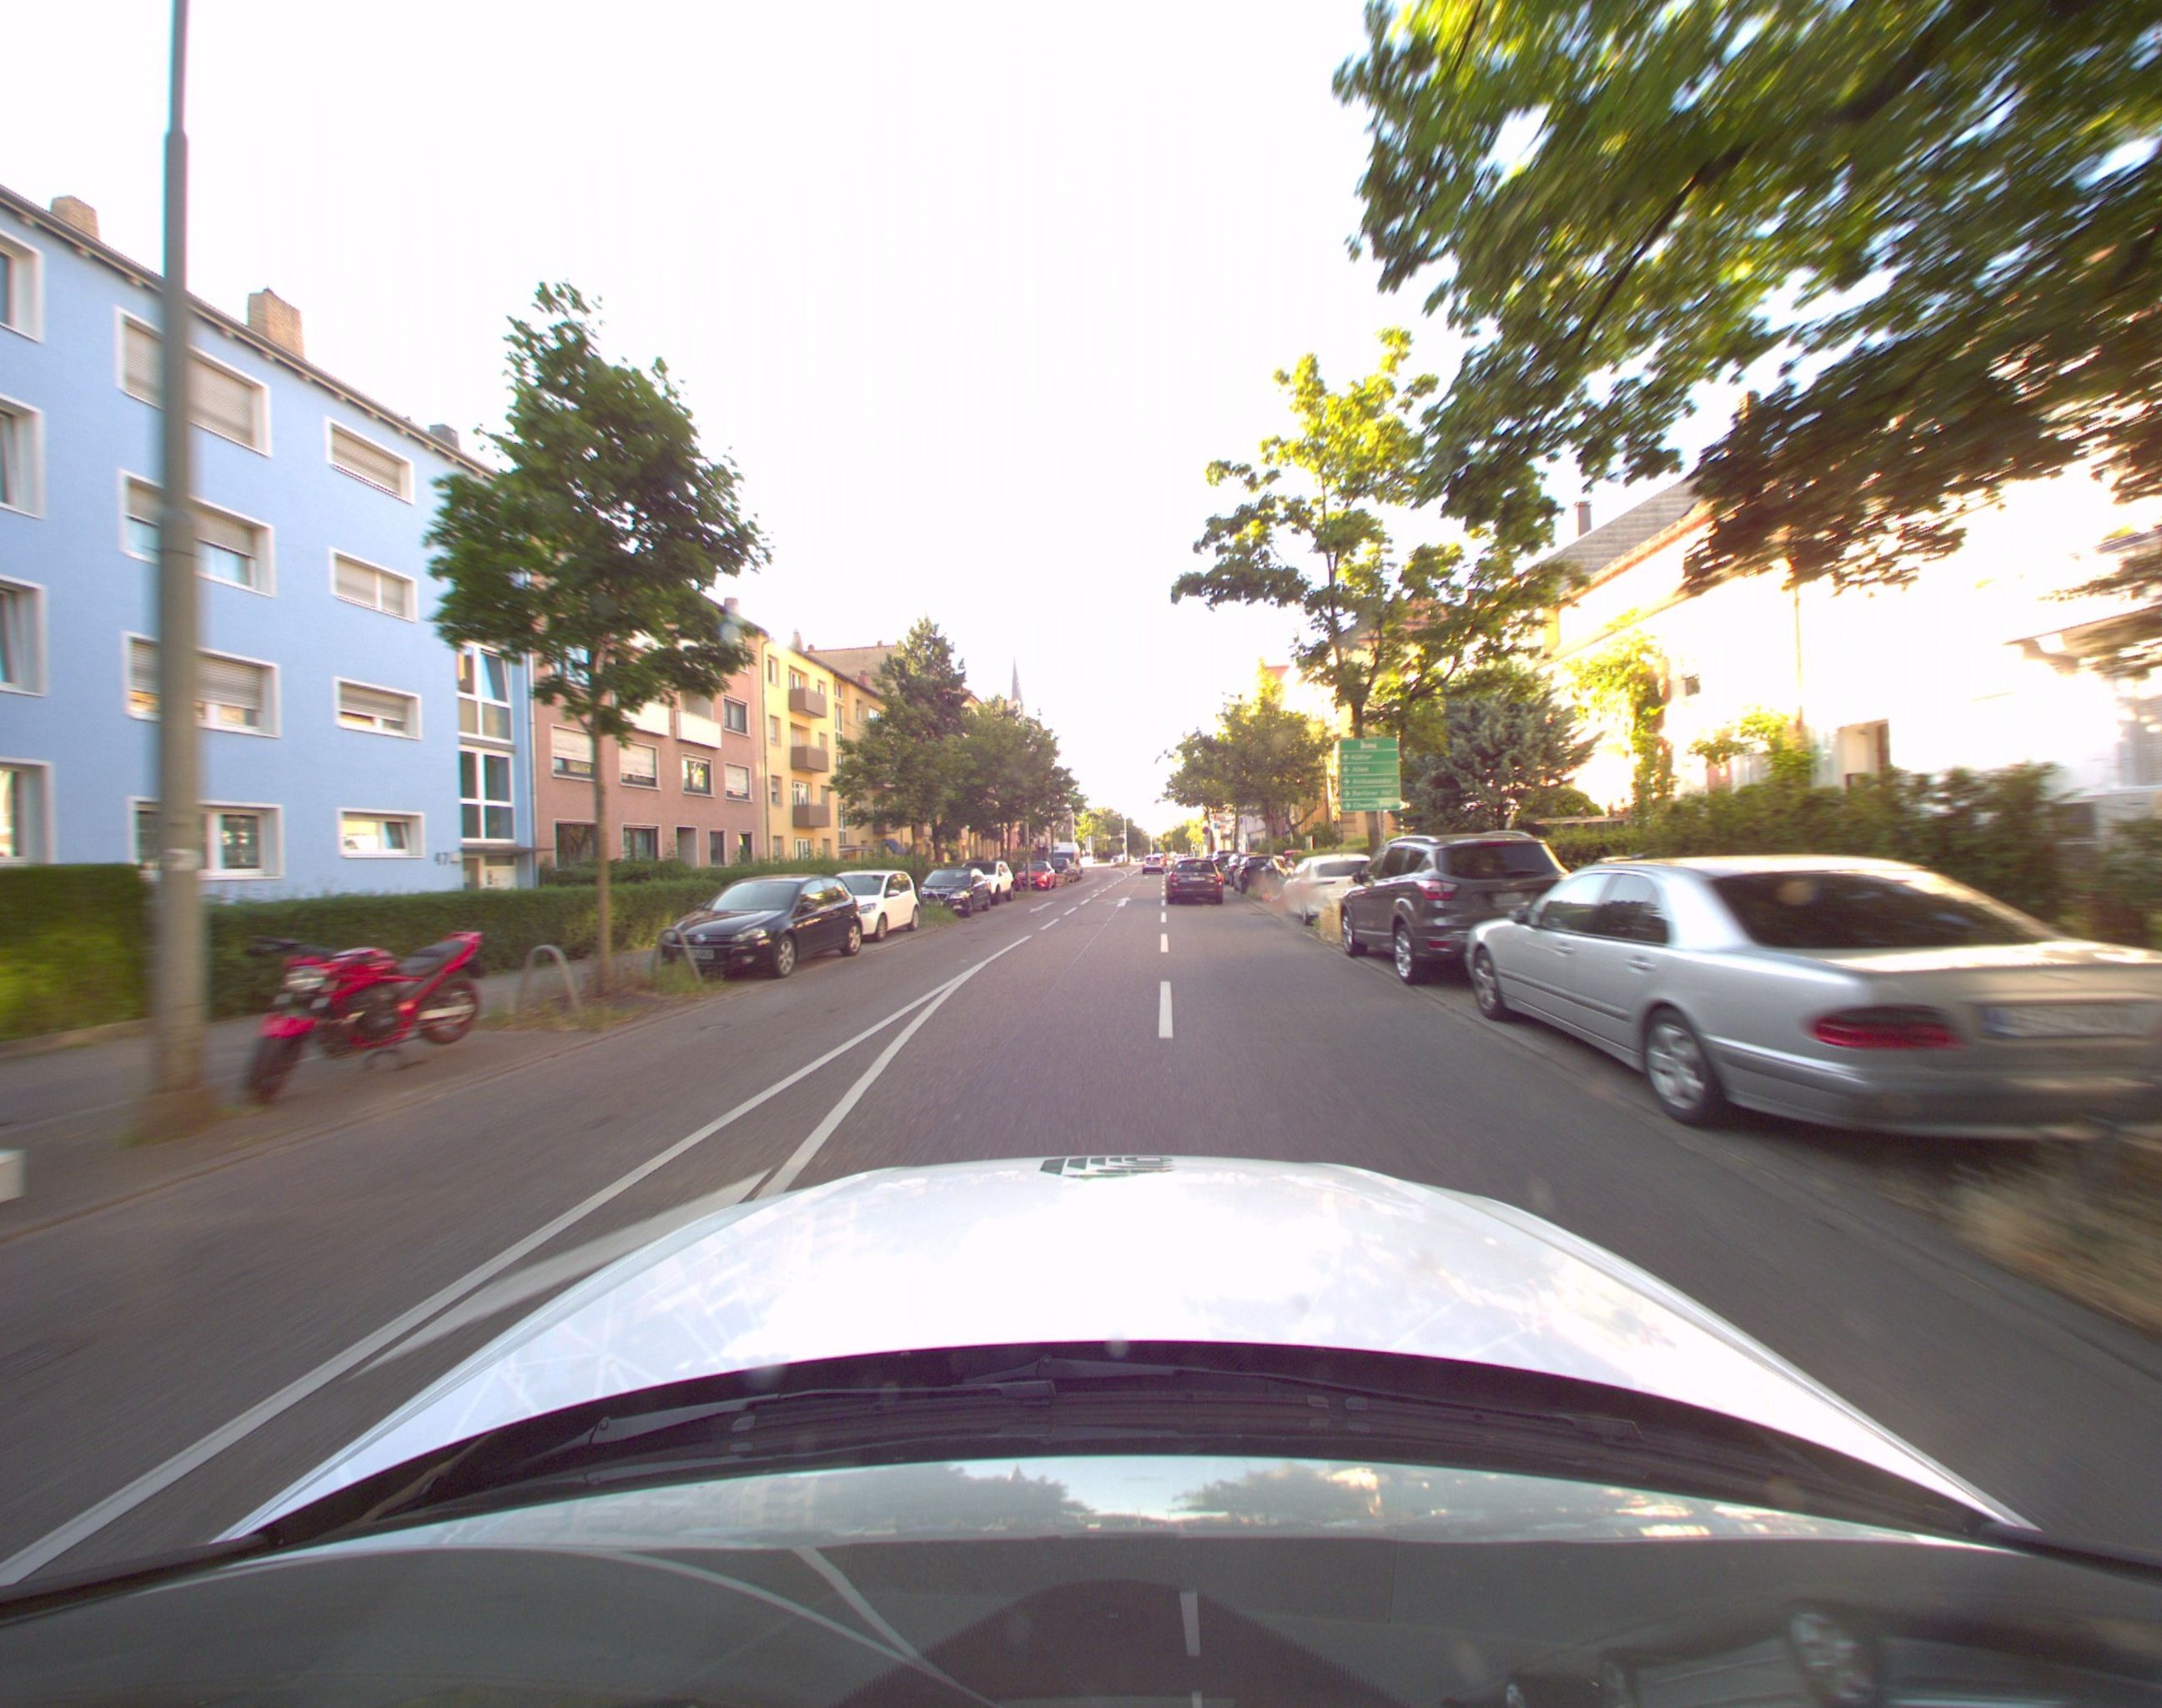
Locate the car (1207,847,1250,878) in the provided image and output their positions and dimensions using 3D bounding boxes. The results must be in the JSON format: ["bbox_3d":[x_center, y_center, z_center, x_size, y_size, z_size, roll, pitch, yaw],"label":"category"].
[{"bbox_3d":[8.483,0.477,47.196,1.938,1.655,4.802,-2,0,5],"label":"car"}]

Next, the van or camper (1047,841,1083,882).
[{"bbox_3d":[-1.041,0.486,55.930,2.027,2.664,6.021,0,0,3],"label":"van or camper"}]

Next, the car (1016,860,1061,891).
[{"bbox_3d":[-2.134,1.074,41.816,1.708,1.451,3.929,-1,0,5],"label":"car"}]

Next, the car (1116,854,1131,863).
[{"bbox_3d":[7.999,0.877,153.846,1.624,1.494,3.327,-2,0,-18],"label":"car"}]

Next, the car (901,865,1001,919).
[{"bbox_3d":[-3.975,1.121,25.704,1.984,1.448,4.465,-3,0,5],"label":"car"}]

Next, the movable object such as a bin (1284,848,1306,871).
[{"bbox_3d":[14.177,0.361,53.907,1.242,1.441,0.999,-3,0,20],"label":"movable object such as a bin"}]

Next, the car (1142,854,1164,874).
[{"bbox_3d":[6.003,0.792,67.380,1.699,1.510,4.316,-1,0,6],"label":"car"}]

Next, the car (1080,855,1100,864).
[{"bbox_3d":[1.727,1.123,162.444,2.008,1.670,3.958,-2,0,-33],"label":"car"}]

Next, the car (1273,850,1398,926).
[{"bbox_3d":[5.520,0.677,18.227,1.753,1.402,4.340,-3,0,6],"label":"car"}]

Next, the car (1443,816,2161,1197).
[{"bbox_3d":[4.231,0.611,5.657,1.775,1.504,4.841,-2,0,7],"label":"car"}]

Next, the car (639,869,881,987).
[{"bbox_3d":[-4.943,1.057,13.320,1.828,1.517,4.323,-1,0,6],"label":"car"}]

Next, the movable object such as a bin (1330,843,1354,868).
[{"bbox_3d":[17.107,0.099,53.453,1.153,1.555,0.993,-3,0,-4],"label":"movable object such as a bin"}]

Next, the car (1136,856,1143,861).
[{"bbox_3d":[16.950,1.277,236.169,1.771,1.236,4.007,-2,0,6],"label":"car"}]

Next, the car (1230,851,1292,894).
[{"bbox_3d":[6.951,0.667,31.857,1.761,1.448,4.491,-3,0,5],"label":"car"}]

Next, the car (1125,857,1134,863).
[{"bbox_3d":[11.080,1.365,184.947,1.771,1.236,4.007,-2,0,6],"label":"car"}]

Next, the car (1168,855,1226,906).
[{"bbox_3d":[3.667,0.791,26.251,1.699,1.457,4.165,-1,0,6],"label":"car"}]

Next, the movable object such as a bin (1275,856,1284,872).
[{"bbox_3d":[13.158,0.643,53.901,0.490,1.059,0.550,-3,0,18],"label":"movable object such as a bin"}]

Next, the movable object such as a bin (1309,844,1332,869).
[{"bbox_3d":[15.795,0.175,53.746,1.153,1.555,0.993,-3,0,-4],"label":"movable object such as a bin"}]

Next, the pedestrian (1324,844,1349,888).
[{"bbox_3d":[9.722,0.454,30.998,0.743,1.616,0.580,-2,0,3],"label":"pedestrian"}]

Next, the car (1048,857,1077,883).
[{"bbox_3d":[-1.148,0.993,50.963,1.396,1.548,2.767,0,0,7],"label":"car"}]

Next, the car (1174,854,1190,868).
[{"bbox_3d":[10.981,0.742,88.514,1.642,1.484,4.246,-1,0,6],"label":"car"}]

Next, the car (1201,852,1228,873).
[{"bbox_3d":[10.372,0.629,63.382,1.846,1.512,4.844,-4,0,7],"label":"car"}]

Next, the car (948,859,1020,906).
[{"bbox_3d":[-3.563,1.022,30.690,1.768,1.588,4.192,-2,0,6],"label":"car"}]

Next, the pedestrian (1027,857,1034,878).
[{"bbox_3d":[-3.964,1.066,64.029,0.478,1.652,0.725,-2,0,-1],"label":"pedestrian"}]

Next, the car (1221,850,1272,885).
[{"bbox_3d":[7.787,0.600,38.625,1.709,1.472,4.436,-3,0,4],"label":"car"}]

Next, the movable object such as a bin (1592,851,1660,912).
[{"bbox_3d":[10.184,0.506,15.244,0.722,1.058,0.685,-6,-1,4],"label":"movable object such as a bin"}]

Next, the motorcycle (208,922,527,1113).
[{"bbox_3d":[-5.667,1.220,6.710,0.636,1.136,2.174,0,0,3],"label":"motorcycle"}]

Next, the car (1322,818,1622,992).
[{"bbox_3d":[4.719,0.532,10.762,1.908,1.681,4.713,-4,0,4],"label":"car"}]

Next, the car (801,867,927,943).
[{"bbox_3d":[-4.781,1.082,18.467,1.583,1.492,3.646,-2,-1,5],"label":"car"}]

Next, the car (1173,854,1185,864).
[{"bbox_3d":[14.169,0.665,117.807,1.577,1.446,3.653,-1,0,6],"label":"car"}]
